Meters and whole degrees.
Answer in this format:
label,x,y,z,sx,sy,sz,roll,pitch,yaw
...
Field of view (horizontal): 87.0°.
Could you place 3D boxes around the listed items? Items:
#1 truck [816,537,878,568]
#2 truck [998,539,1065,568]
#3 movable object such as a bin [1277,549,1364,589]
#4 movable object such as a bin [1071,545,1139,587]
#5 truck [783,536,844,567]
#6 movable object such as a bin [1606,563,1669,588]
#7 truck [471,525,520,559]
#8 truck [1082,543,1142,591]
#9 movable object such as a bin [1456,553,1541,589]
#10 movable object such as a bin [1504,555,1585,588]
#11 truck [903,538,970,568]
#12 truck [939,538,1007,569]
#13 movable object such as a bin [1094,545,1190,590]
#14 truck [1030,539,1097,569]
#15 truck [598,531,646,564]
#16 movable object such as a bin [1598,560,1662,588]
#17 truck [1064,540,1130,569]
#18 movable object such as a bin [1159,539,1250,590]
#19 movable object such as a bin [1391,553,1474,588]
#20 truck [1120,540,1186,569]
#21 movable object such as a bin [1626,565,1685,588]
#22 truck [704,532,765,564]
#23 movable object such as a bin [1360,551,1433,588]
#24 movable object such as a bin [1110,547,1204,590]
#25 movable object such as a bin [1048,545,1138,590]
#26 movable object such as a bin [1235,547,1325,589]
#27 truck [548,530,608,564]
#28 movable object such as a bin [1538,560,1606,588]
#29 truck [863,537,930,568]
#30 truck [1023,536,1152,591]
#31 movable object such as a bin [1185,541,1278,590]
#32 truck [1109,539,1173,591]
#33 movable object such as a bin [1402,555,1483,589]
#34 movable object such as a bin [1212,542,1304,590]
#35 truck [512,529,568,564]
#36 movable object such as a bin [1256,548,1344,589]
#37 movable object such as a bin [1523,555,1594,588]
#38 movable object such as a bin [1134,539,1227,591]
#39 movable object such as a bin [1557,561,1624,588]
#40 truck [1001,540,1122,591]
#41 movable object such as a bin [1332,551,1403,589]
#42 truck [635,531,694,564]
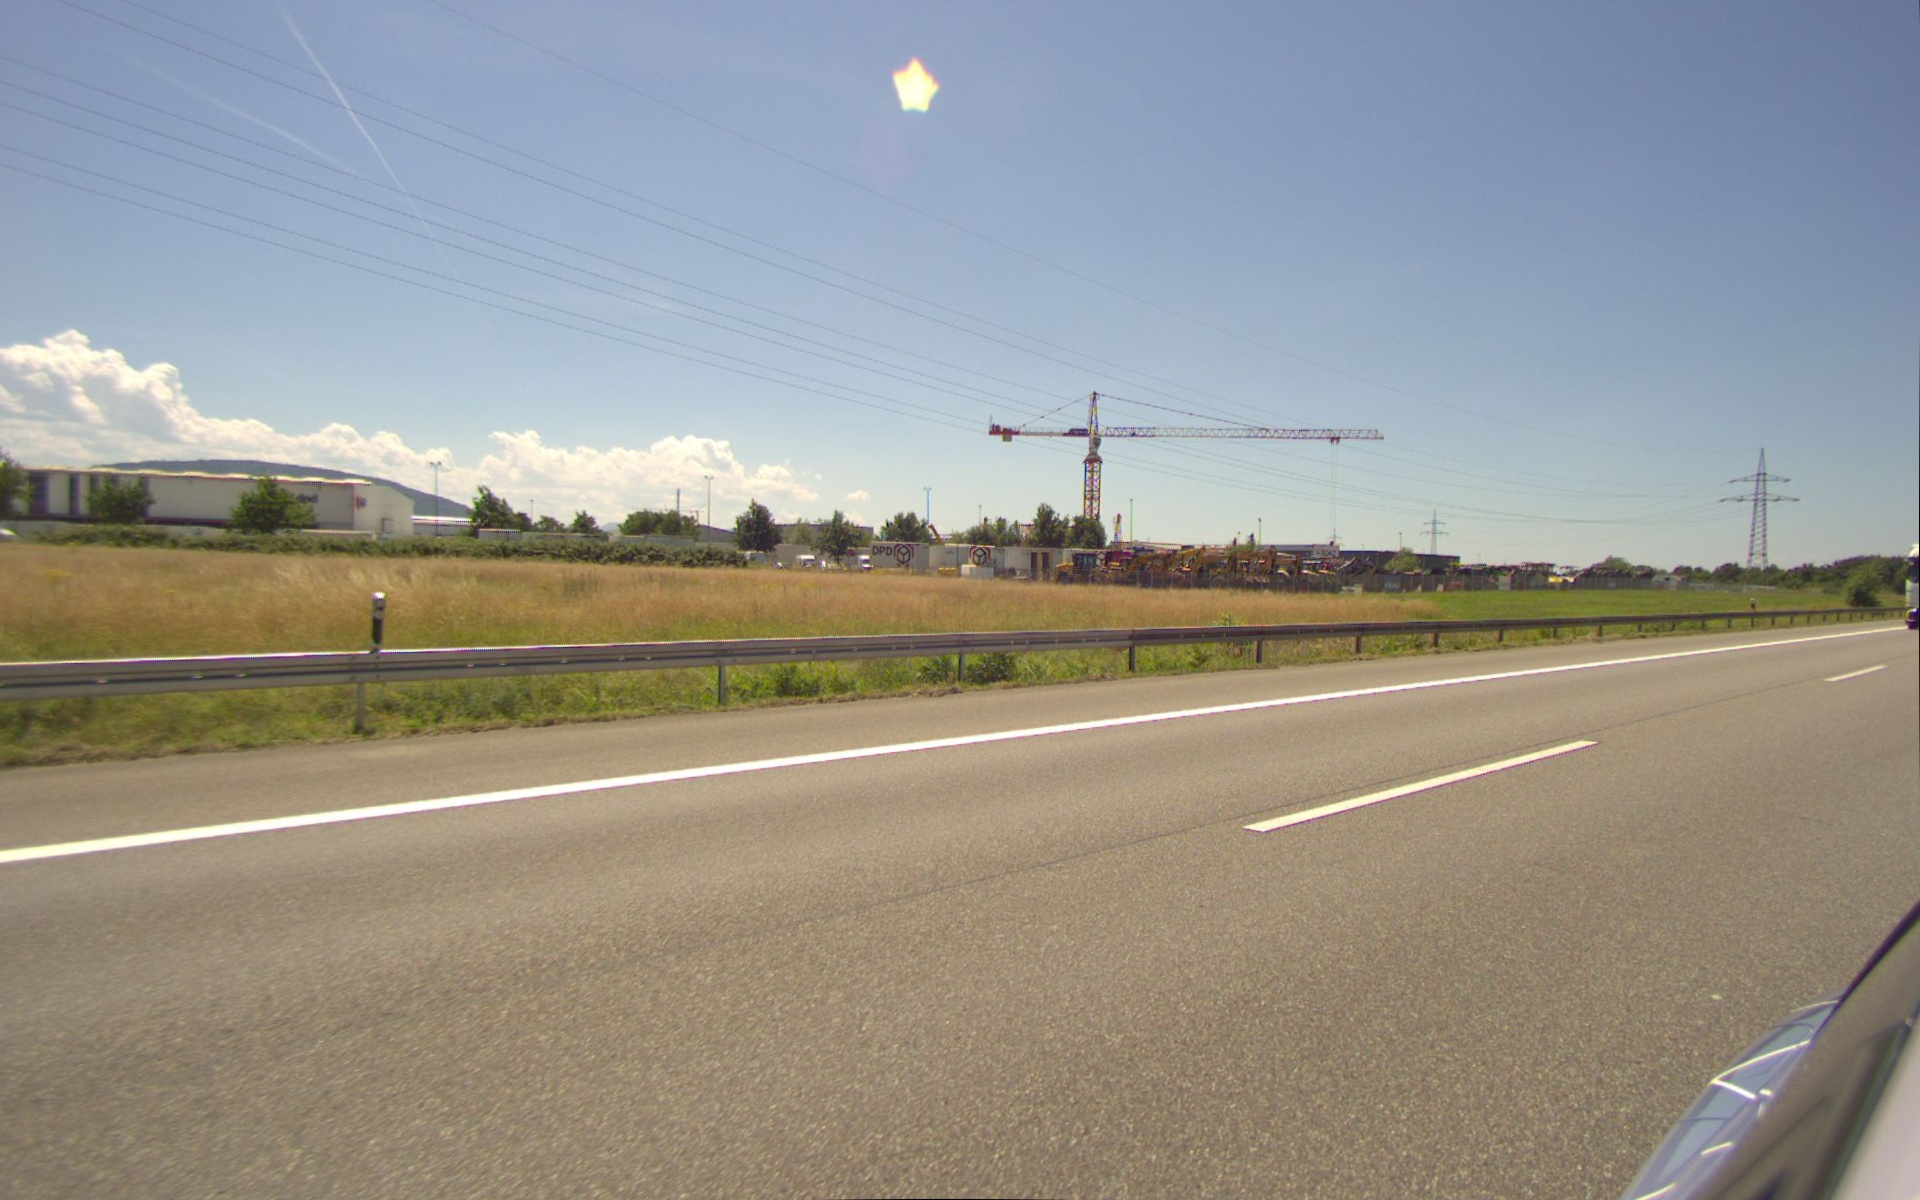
label,x,y,z,sx,sy,sz,roll,pitch,yaw
truck,-13.418,-5.694,119.761,8.152,3.453,2.713,4,3,45
truck,8.897,-5.813,126.710,8.122,3.453,2.802,3,3,35
movable object such as a bin,37.213,-3.131,104.657,3.080,4.001,8.113,0,0,-38
movable object such as a bin,16.983,-3.898,119.162,3.227,4.709,8.849,0,0,-30
truck,-17.143,-5.663,117.955,8.152,3.453,2.713,4,3,45
movable object such as a bin,110.626,-3.940,165.266,2.829,3.988,8.113,0,0,-38
truck,-49.527,-6.190,107.697,2.779,3.453,8.168,0,3,-39
truck,15.806,-3.364,104.993,5.875,4.832,3.051,0,0,-39
movable object such as a bin,71.862,-3.846,135.259,3.374,4.569,9.379,0,0,-38
movable object such as a bin,82.400,-3.938,142.784,3.374,4.569,9.379,0,0,-38
truck,-2.928,-5.697,122.778,8.122,3.453,2.604,3,3,35
truck,1.574,-5.730,124.182,8.122,3.453,2.802,3,3,35
movable object such as a bin,15.109,-2.647,84.506,2.829,3.507,8.113,0,0,-38
truck,13.094,-5.843,128.121,8.122,3.453,2.802,3,3,35
truck,-37.199,-5.833,111.226,2.776,3.453,8.176,0,3,-35
movable object such as a bin,107.864,-4.136,162.991,2.829,4.429,8.113,0,0,-38
truck,17.496,-5.874,129.431,8.147,3.453,2.793,4,3,43
movable object such as a bin,22.077,-3.124,91.850,2.829,4.351,8.113,0,0,-38
movable object such as a bin,57.868,-3.505,124.211,3.364,4.103,9.405,0,0,-22
truck,25.150,-5.964,132.187,8.132,3.453,2.798,4,3,38
movable object such as a bin,122.167,-4.094,177.845,2.829,3.988,8.113,0,0,-38
truck,-25.432,-5.893,114.072,8.152,3.453,2.713,4,3,45
movable object such as a bin,50.780,-3.497,118.139,3.366,4.103,9.401,0,0,-9
movable object such as a bin,16.915,-2.680,87.572,2.829,3.507,8.113,0,0,-38
movable object such as a bin,10.880,-2.618,83.306,2.829,3.507,7.584,0,0,-38
movable object such as a bin,31.481,-3.067,99.900,3.080,4.001,8.113,0,0,-38
truck,-41.508,-5.802,109.936,8.147,3.453,2.786,4,3,43
movable object such as a bin,89.414,-3.750,147.972,2.829,3.955,8.113,0,0,-38
truck,-7.643,-5.664,121.283,8.122,3.453,2.497,3,3,35
truck,12.030,-3.258,93.856,14.067,4.832,3.051,-1,0,-39
movable object such as a bin,25.349,-3.163,94.869,3.290,4.351,8.113,0,0,-38
truck,17.660,-3.321,98.499,5.875,4.832,3.051,0,0,-39
movable object such as a bin,61.909,-3.512,130.211,3.365,4.103,9.402,0,0,-25
movable object such as a bin,28.576,-3.198,97.311,3.239,4.351,8.113,0,0,-38
truck,-45.147,-5.775,108.652,2.783,3.453,8.155,0,3,-44
movable object such as a bin,34.238,-3.098,102.265,3.080,4.001,8.113,0,0,-38
movable object such as a bin,85.860,-3.973,145.224,3.289,4.569,8.113,0,0,-38
movable object such as a bin,19.414,-3.037,89.621,2.829,4.351,8.113,0,0,-38
movable object such as a bin,95.771,-3.798,153.844,2.829,3.955,8.113,0,0,-38
truck,10.303,-3.302,100.479,13.881,4.832,3.051,-1,0,-39
movable object such as a bin,47.121,-3.387,117.425,3.366,4.103,9.401,0,0,-9
truck,-32.968,-5.864,112.730,8.152,3.453,2.713,4,3,45
